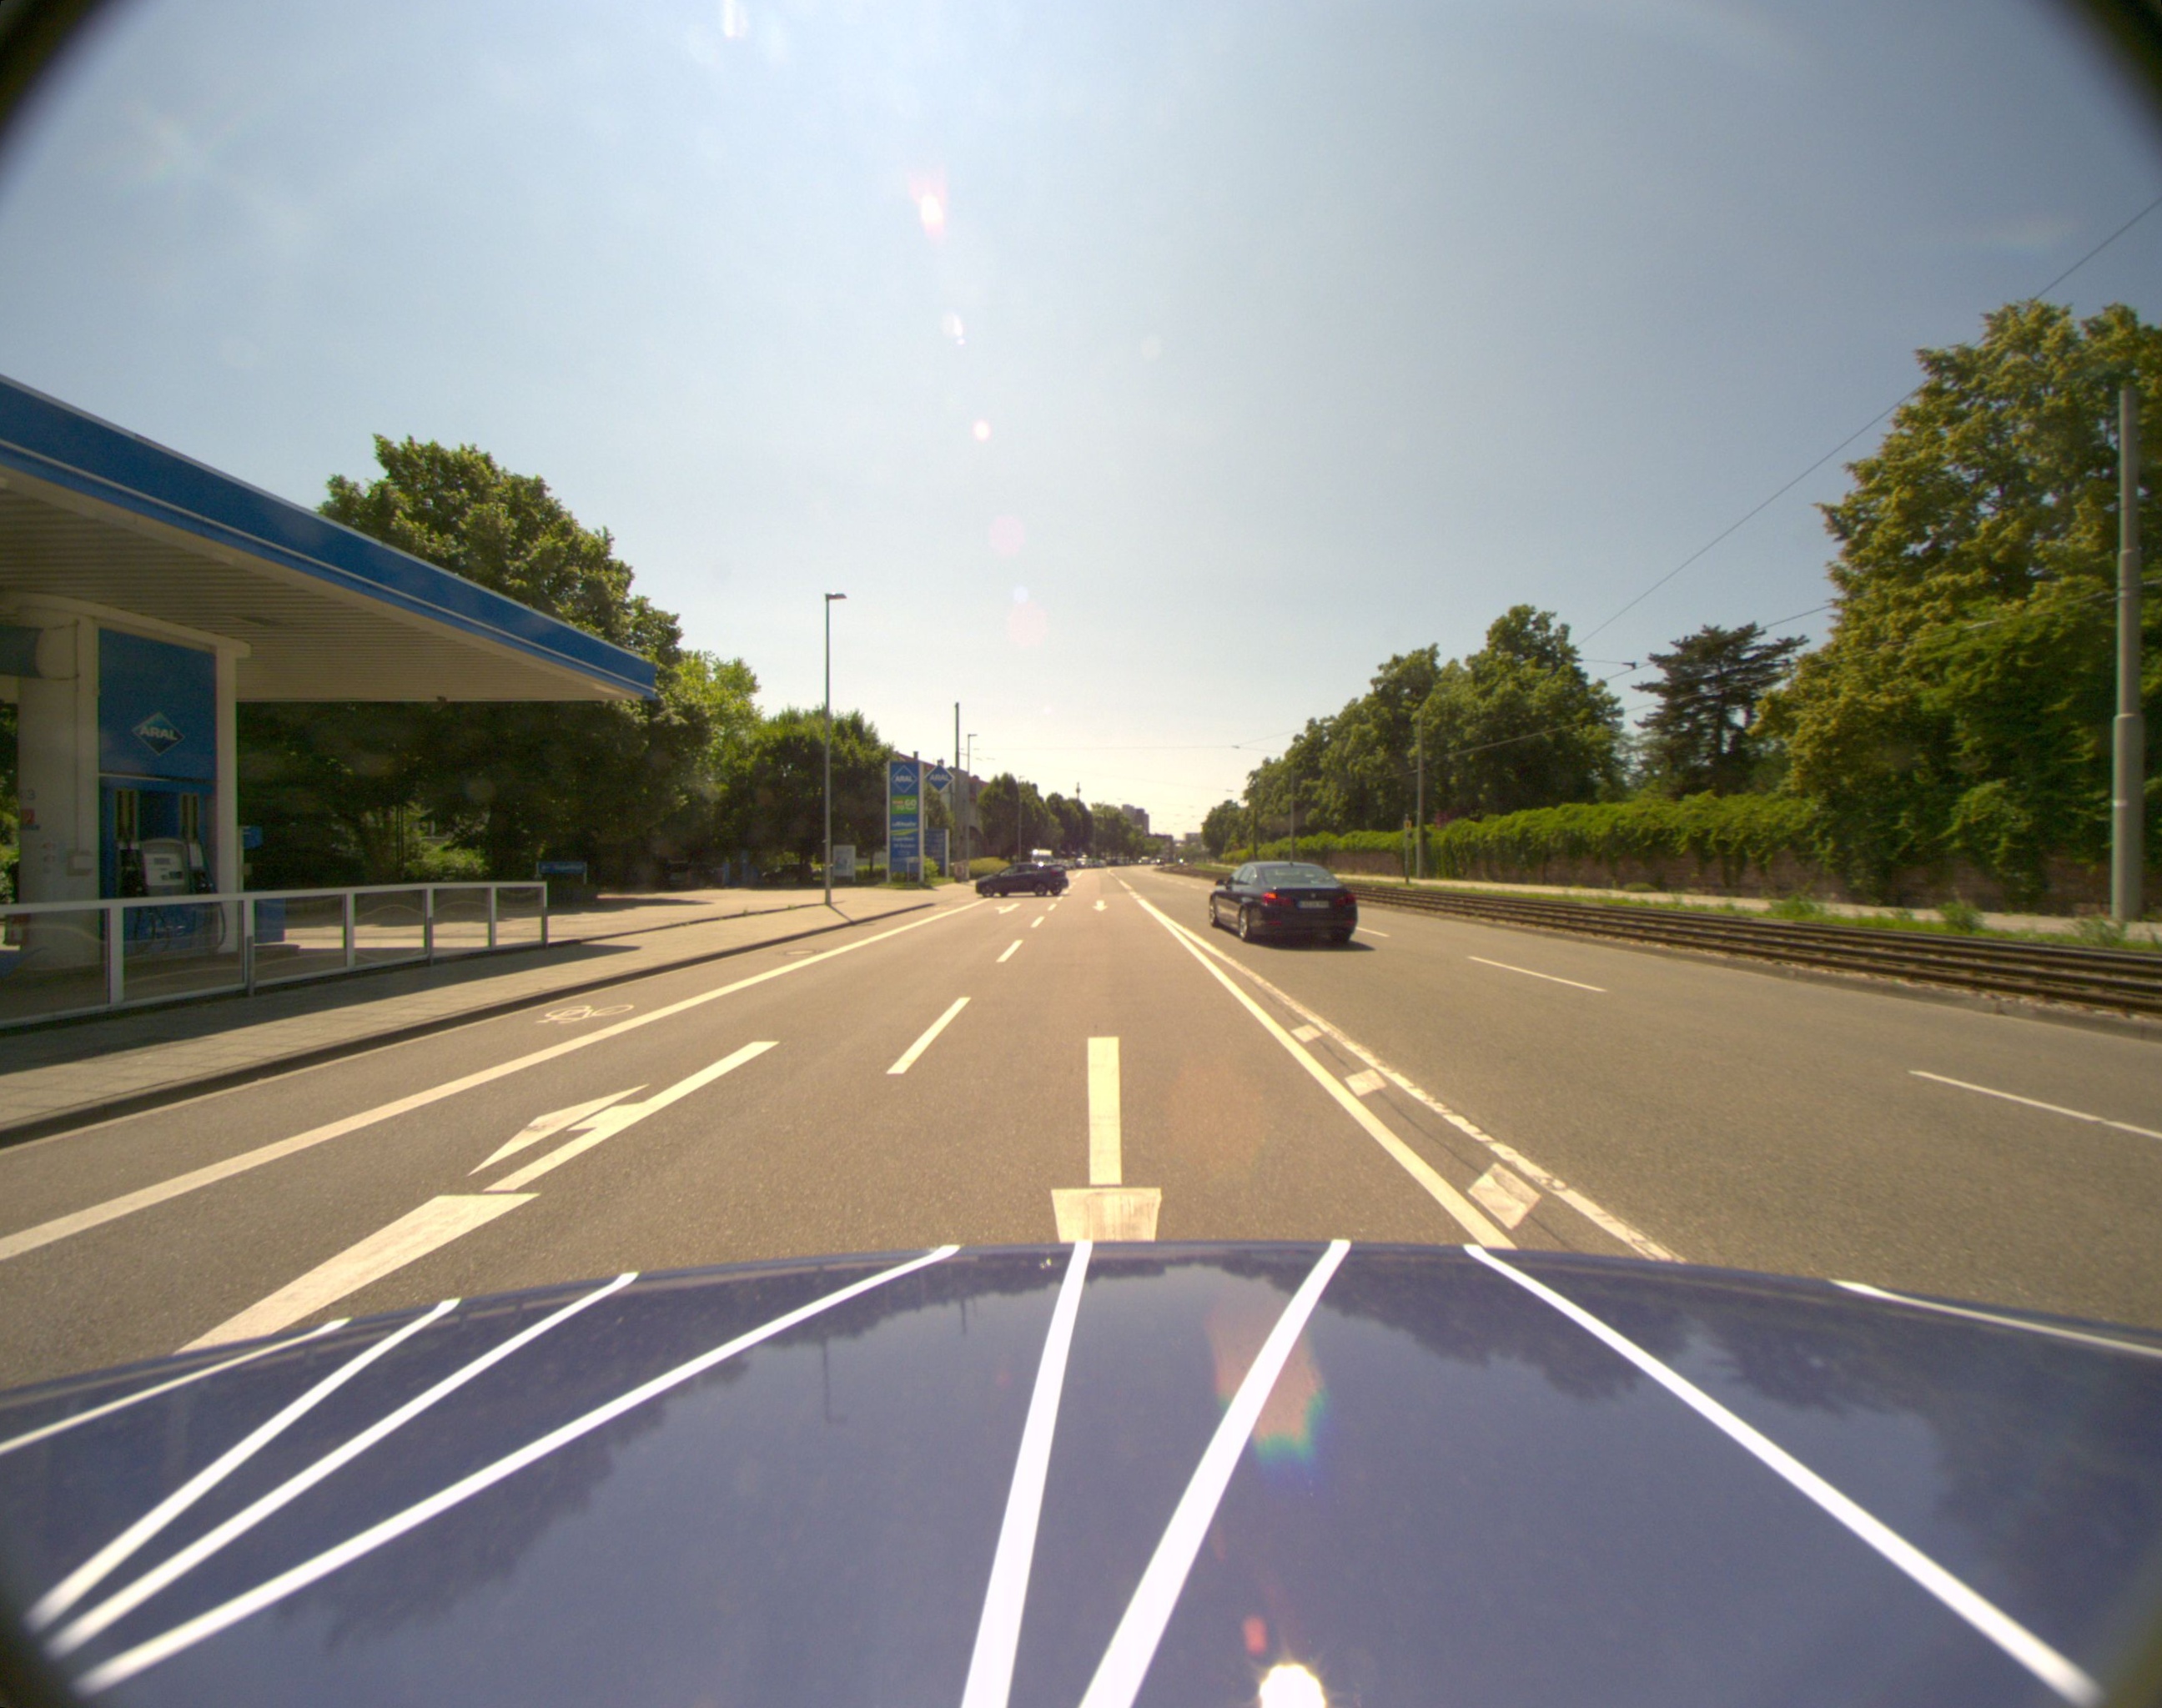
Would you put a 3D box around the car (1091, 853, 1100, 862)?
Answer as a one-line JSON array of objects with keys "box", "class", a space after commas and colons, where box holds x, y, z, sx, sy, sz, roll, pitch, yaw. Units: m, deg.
[{"box": [2.820, 0.643, 147.274, 1.806, 1.585, 4.000, -1, 0, 2], "class": "car"}]

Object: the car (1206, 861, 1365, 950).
[{"box": [3.698, 0.858, 14.583, 1.798, 1.391, 4.447, 0, 0, -1], "class": "car"}]

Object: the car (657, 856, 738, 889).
[{"box": [-21.578, 1.023, 42.993, 1.997, 1.653, 4.411, 0, 1, 6], "class": "car"}]

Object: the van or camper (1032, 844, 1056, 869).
[{"box": [-3.781, 0.239, 78.689, 2.125, 2.469, 5.993, 2, 0, 0], "class": "van or camper"}]

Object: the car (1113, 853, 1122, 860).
[{"box": [8.429, 0.560, 177.893, 1.998, 1.718, 4.000, -1, 0, 2], "class": "car"}]

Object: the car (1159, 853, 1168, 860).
[{"box": [18.880, 0.550, 173.858, 1.695, 1.460, 4.003, 0, 0, 10], "class": "car"}]

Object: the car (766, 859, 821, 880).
[{"box": [-24.841, 1.329, 65.661, 3.992, 1.677, 2.002, -1, 0, 16], "class": "car"}]

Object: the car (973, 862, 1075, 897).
[{"box": [-2.527, 1.136, 33.609, 4.132, 1.413, 1.722, -1, 0, 22], "class": "car"}]

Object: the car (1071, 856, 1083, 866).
[{"box": [-0.593, 1.152, 127.305, 1.725, 1.586, 4.001, -1, 0, 4], "class": "car"}]

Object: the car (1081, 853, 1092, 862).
[{"box": [0.972, 0.606, 139.180, 1.907, 1.707, 4.000, -1, 0, 2], "class": "car"}]

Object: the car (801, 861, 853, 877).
[{"box": [-24.435, 1.427, 73.156, 4.220, 1.512, 2.001, -1, 0, 9], "class": "car"}]

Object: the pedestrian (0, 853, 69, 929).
[{"box": [-26.458, 0.915, 19.205, 0.626, 1.877, 0.837, 0, 0, 1], "class": "pedestrian"}]
